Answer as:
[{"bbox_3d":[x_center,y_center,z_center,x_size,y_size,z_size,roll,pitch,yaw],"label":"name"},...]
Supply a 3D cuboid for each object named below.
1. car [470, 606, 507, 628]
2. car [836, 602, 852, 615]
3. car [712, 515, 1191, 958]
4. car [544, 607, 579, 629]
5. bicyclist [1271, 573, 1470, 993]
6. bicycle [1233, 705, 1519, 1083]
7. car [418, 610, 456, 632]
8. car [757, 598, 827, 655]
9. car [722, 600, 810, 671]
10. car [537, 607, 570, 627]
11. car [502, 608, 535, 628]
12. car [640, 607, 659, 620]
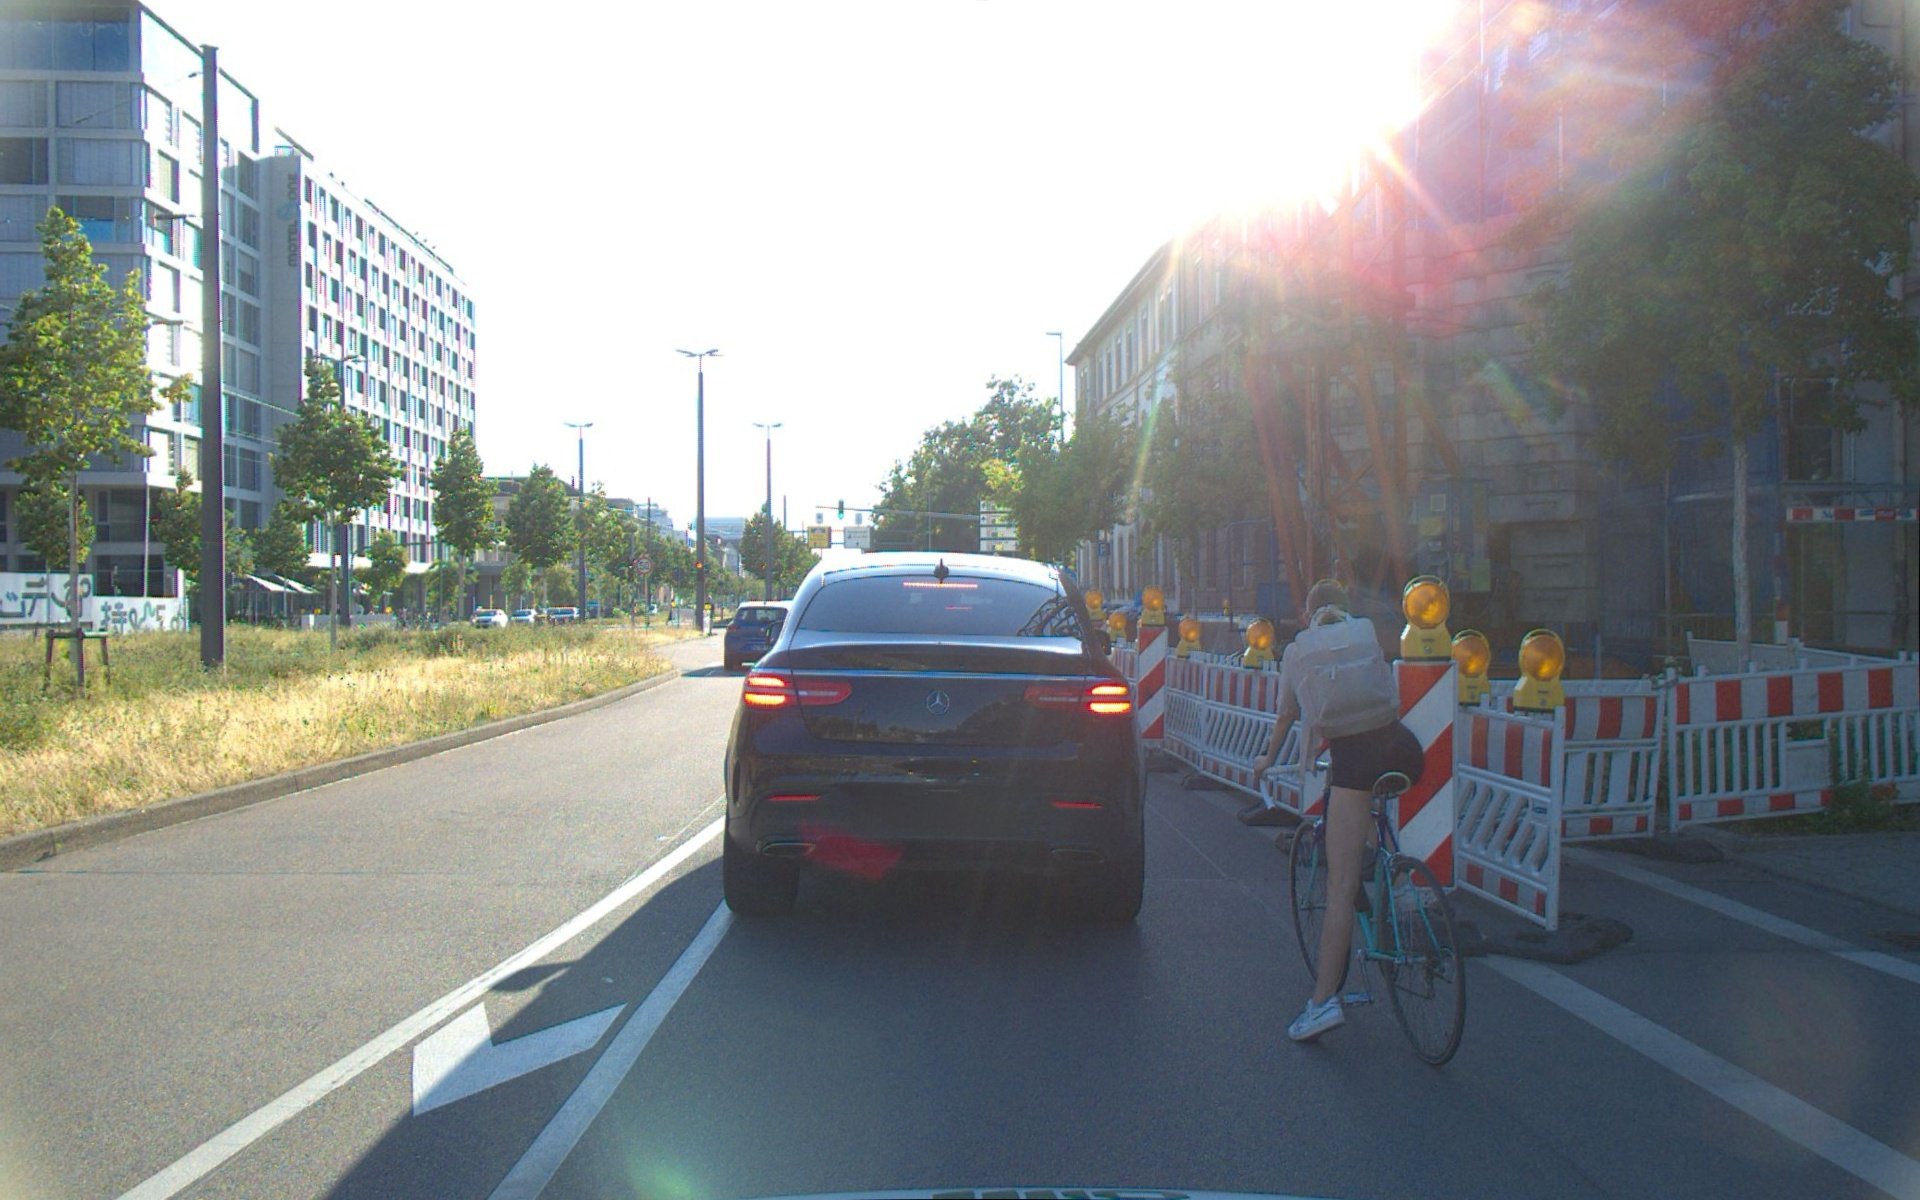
[{"bbox_3d":[-32.721,1.157,114.844,1.674,1.467,3.580,1,0,-3],"label":"car"},{"bbox_3d":[-12.852,0.924,183.625,1.674,1.467,3.580,1,0,-3],"label":"car"},{"bbox_3d":[-0.060,0.574,8.835,1.953,1.803,3.999,1,0,-1],"label":"car"},{"bbox_3d":[-27.537,1.245,114.403,1.674,1.467,3.580,1,0,-3],"label":"car"},{"bbox_3d":[1.452,0.624,5.915,0.512,1.420,0.614,1,-1,-4],"label":"bicyclist"},{"bbox_3d":[1.443,0.974,6.029,0.502,1.070,1.724,1,0,-3],"label":"bicycle"},{"bbox_3d":[-36.975,1.483,116.987,1.674,1.467,3.580,1,0,-3],"label":"car"},{"bbox_3d":[-4.511,0.698,44.857,1.674,1.467,3.580,1,0,-3],"label":"car"},{"bbox_3d":[-4.228,0.745,36.433,1.674,1.467,3.580,1,0,-3],"label":"car"},{"bbox_3d":[-29.978,1.234,121.956,1.674,1.467,3.580,1,0,-3],"label":"car"},{"bbox_3d":[-33.152,1.325,124.229,1.674,1.467,3.580,1,0,-3],"label":"car"},{"bbox_3d":[-35.564,1.557,189.405,1.674,1.467,3.580,1,0,-3],"label":"car"}]
